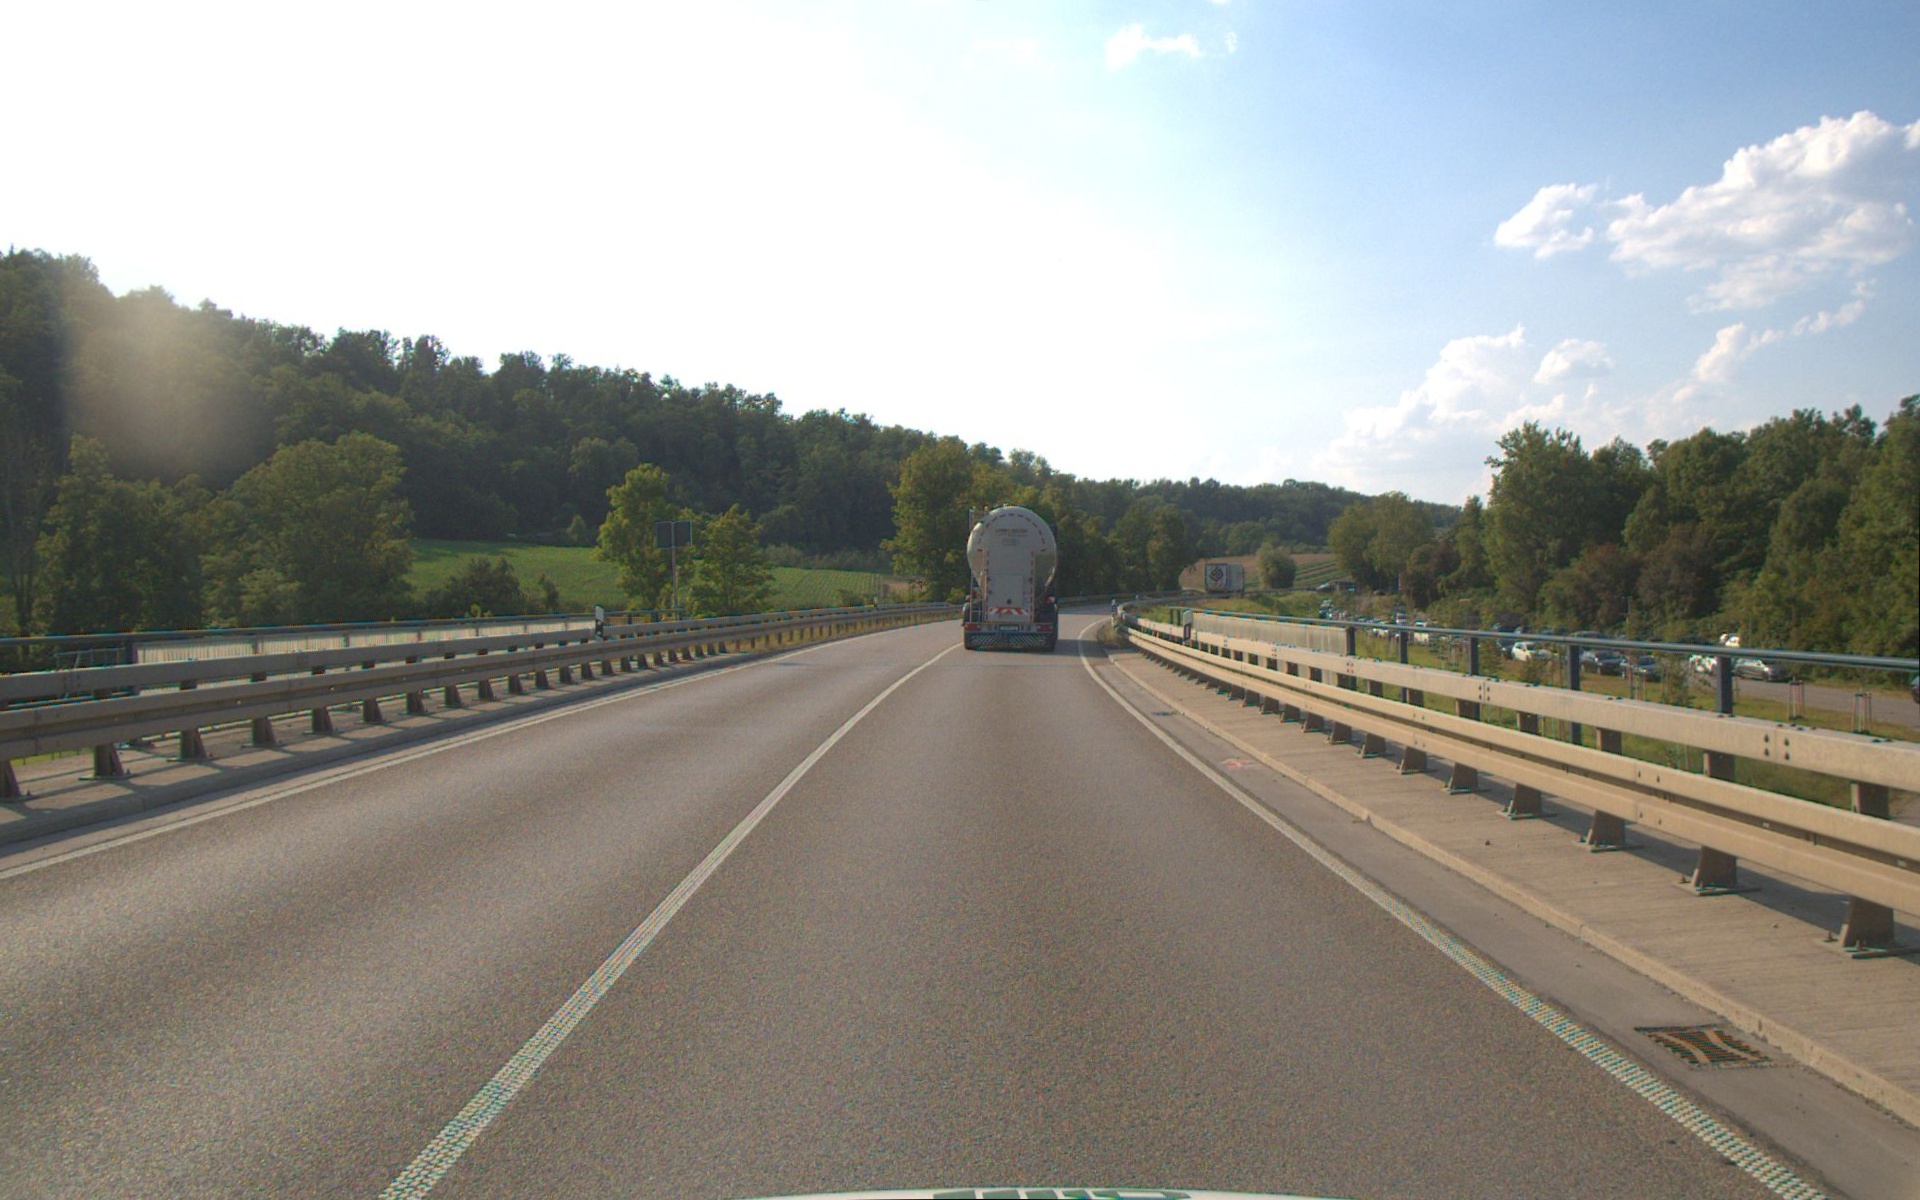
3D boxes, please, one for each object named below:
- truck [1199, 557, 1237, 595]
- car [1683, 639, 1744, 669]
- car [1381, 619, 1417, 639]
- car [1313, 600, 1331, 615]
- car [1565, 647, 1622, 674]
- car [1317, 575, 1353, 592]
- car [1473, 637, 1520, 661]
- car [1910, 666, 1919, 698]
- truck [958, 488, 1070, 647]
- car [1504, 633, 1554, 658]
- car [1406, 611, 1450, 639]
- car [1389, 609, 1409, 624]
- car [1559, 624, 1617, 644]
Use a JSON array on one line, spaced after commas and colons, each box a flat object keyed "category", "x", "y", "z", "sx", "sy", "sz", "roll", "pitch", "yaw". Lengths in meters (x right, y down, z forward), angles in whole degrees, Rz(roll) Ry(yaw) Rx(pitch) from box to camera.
[{"category": "truck", "x": 30.989, "y": -2.958, "z": 198.112, "sx": 3.116, "sy": 4.301, "sz": 13.183, "roll": -1, "pitch": 2, "yaw": 15}, {"category": "car", "x": 47.291, "y": 3.382, "z": 103.947, "sx": 1.621, "sy": 1.695, "sz": 4.707, "roll": -1, "pitch": 0, "yaw": -1}, {"category": "car", "x": 40.461, "y": 2.642, "z": 152.651, "sx": 1.854, "sy": 1.508, "sz": 4.781, "roll": -4, "pitch": 2, "yaw": -2}, {"category": "car", "x": 46.125, "y": 0.929, "z": 210.772, "sx": 1.852, "sy": 1.586, "sz": 4.787, "roll": -3, "pitch": 2, "yaw": 16}, {"category": "car", "x": 41.529, "y": 3.949, "z": 108.544, "sx": 1.783, "sy": 1.425, "sz": 4.252, "roll": -2, "pitch": 2, "yaw": -6}, {"category": "car", "x": 56.573, "y": -2.468, "z": 249.623, "sx": 5.036, "sy": 1.976, "sz": 1.975, "roll": 6, "pitch": 4, "yaw": 21}, {"category": "car", "x": 41.038, "y": 3.717, "z": 126.624, "sx": 1.783, "sy": 1.508, "sz": 4.390, "roll": -2, "pitch": 2, "yaw": -6}, {"category": "car", "x": 47.457, "y": 3.989, "z": 79.479, "sx": 1.619, "sy": 1.523, "sz": 3.831, "roll": -1, "pitch": 0, "yaw": 5}, {"category": "truck", "x": 1.878, "y": -0.885, "z": 50.603, "sx": 2.832, "sy": 4.215, "sz": 13.179, "roll": 1, "pitch": 0, "yaw": 4}, {"category": "car", "x": 41.603, "y": 3.338, "z": 120.987, "sx": 1.783, "sy": 1.508, "sz": 4.252, "roll": -2, "pitch": 2, "yaw": -6}, {"category": "car", "x": 40.740, "y": 2.187, "z": 144.128, "sx": 2.077, "sy": 2.052, "sz": 5.378, "roll": -4, "pitch": 2, "yaw": -2}, {"category": "car", "x": 48.196, "y": 1.810, "z": 181.524, "sx": 1.665, "sy": 1.536, "sz": 3.948, "roll": -1, "pitch": 1, "yaw": 8}, {"category": "car", "x": 50.724, "y": 2.734, "z": 133.686, "sx": 4.154, "sy": 1.481, "sz": 1.614, "roll": 0, "pitch": 1, "yaw": -9}]
